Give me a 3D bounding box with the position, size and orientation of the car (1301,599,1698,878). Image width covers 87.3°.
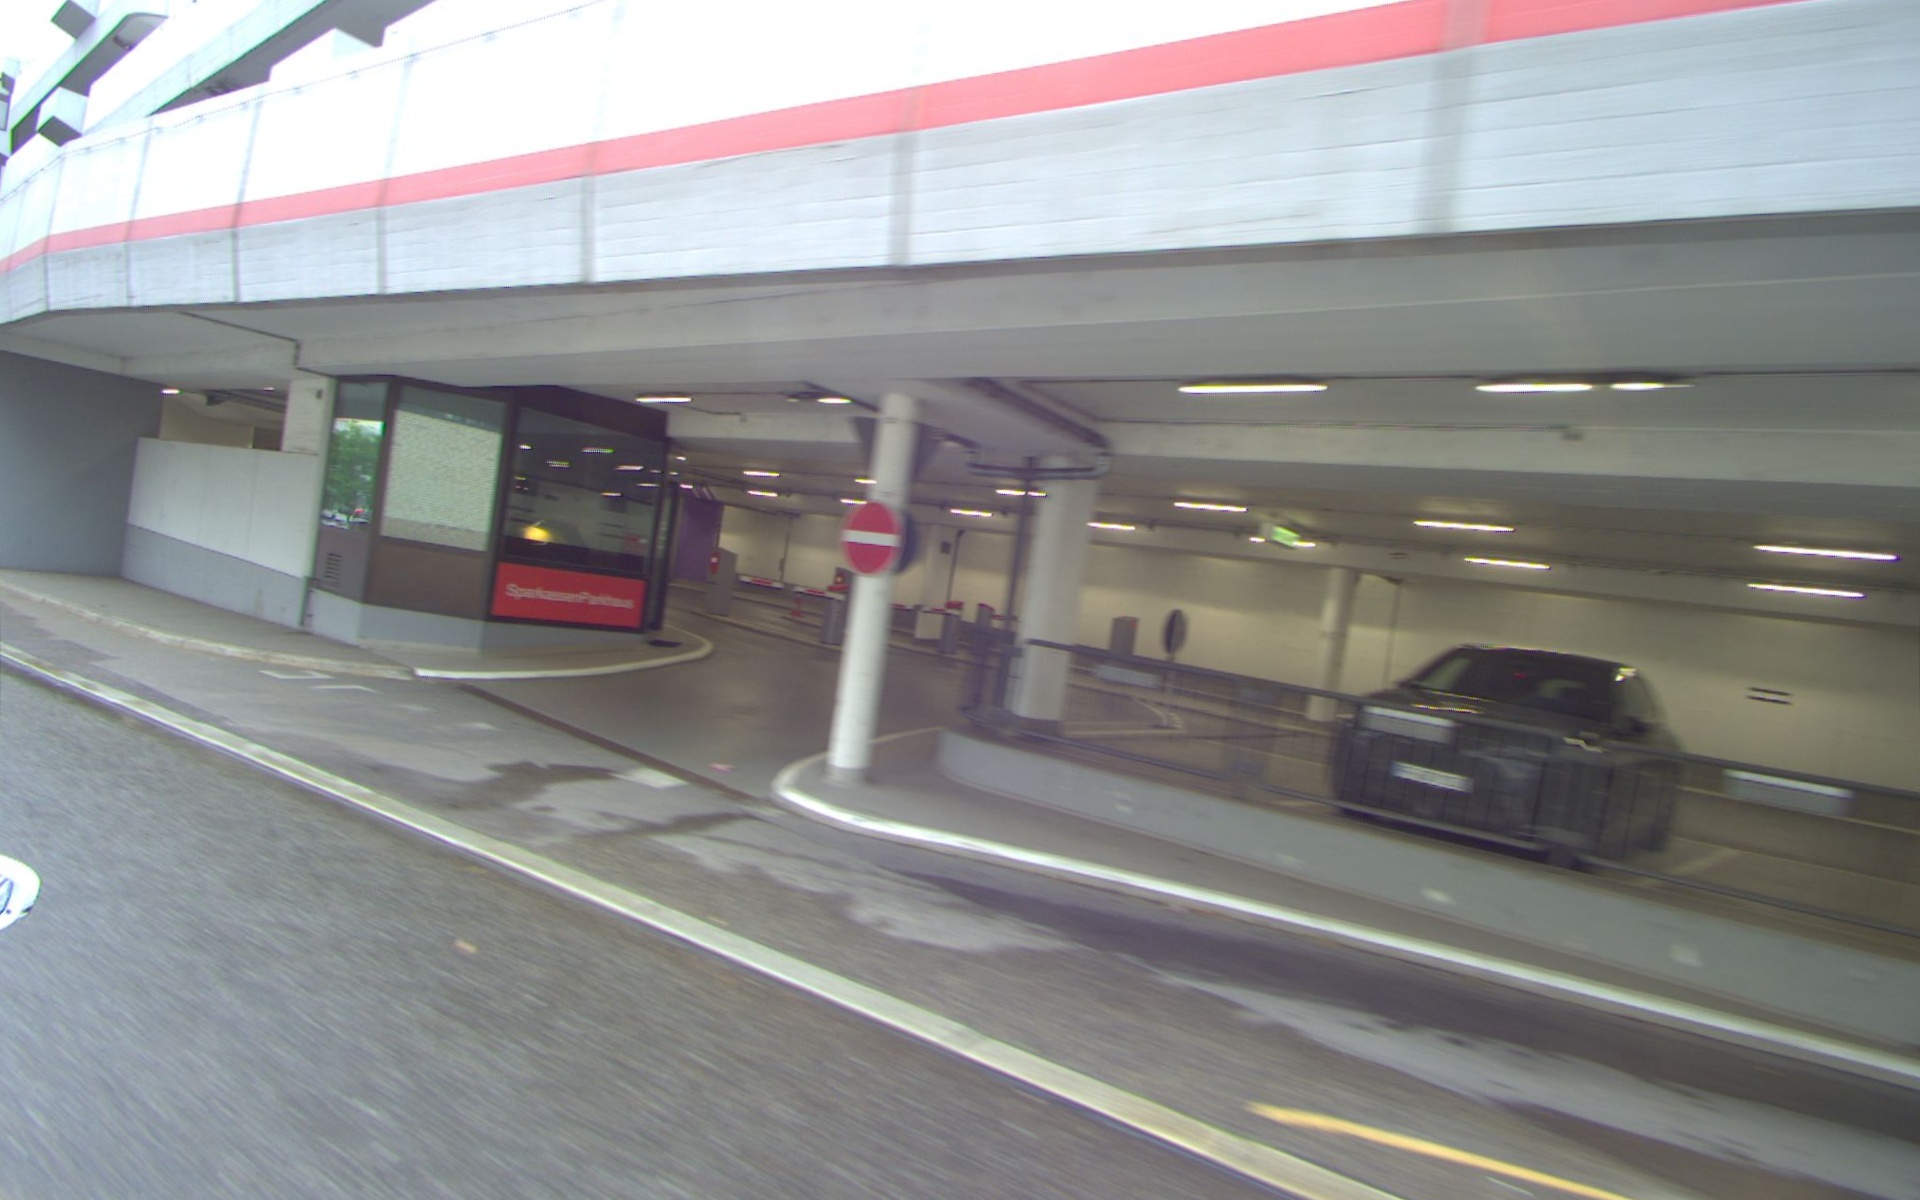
[{"bbox_3d":[4.853,1.172,8.659,1.798,1.658,4.571,6,-3,43],"label":"car"}]
